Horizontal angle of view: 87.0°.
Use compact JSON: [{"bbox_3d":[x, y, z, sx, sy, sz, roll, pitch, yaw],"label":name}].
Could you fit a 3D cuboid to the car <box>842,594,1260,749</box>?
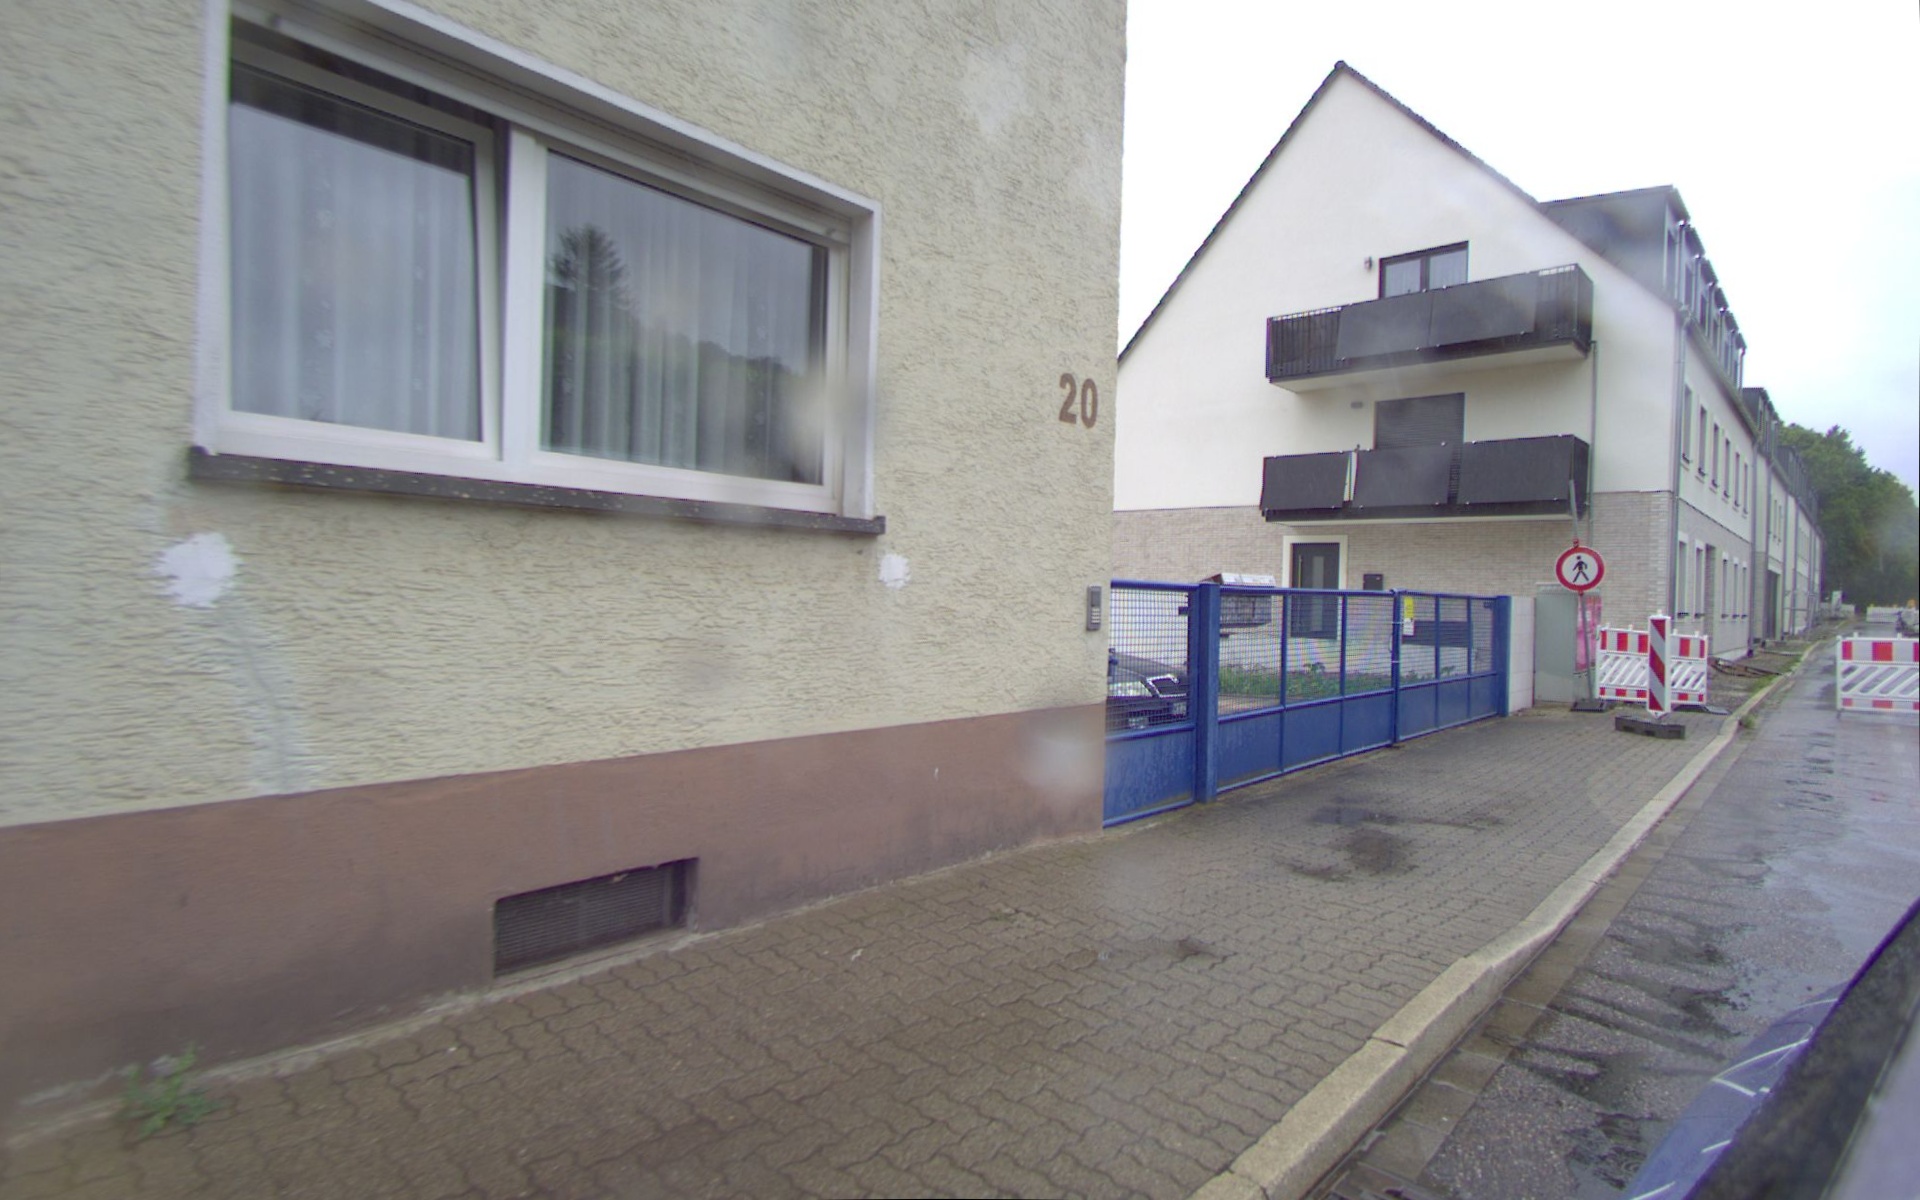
[{"bbox_3d":[0.814,0.677,10.756,4.141,1.319,1.882,-3,-2,43],"label":"car"}]
